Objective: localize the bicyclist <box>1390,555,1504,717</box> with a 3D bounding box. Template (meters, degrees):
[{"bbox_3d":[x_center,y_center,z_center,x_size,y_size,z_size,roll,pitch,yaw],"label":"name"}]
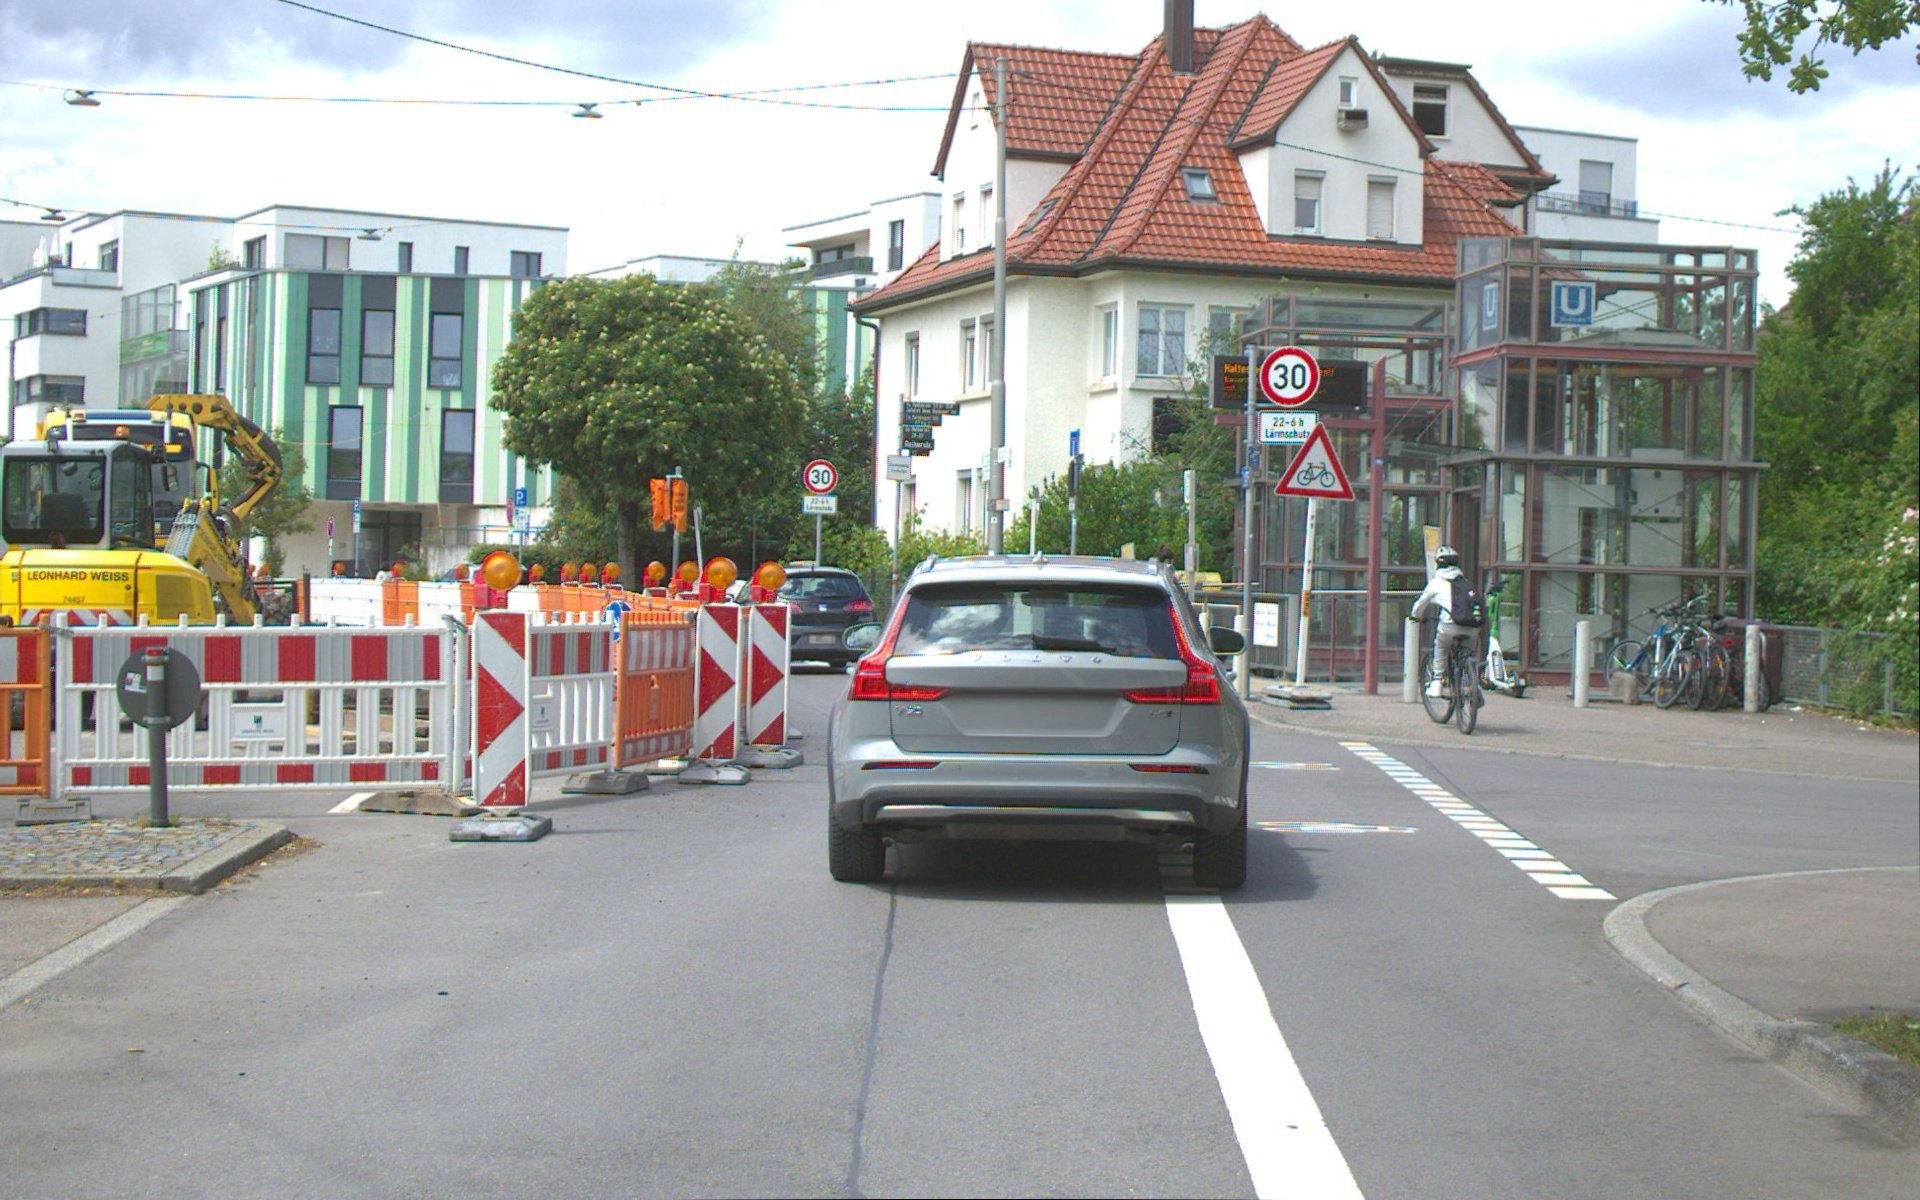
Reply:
[{"bbox_3d":[4.382,0.309,31.003,0.656,1.411,1.179,2,1,-9],"label":"bicyclist"}]

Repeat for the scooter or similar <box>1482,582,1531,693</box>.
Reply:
[{"bbox_3d":[5.793,0.389,36.463,0.215,1.108,0.947,0,4,-8],"label":"scooter or similar"}]

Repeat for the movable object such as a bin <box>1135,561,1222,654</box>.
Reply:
[{"bbox_3d":[3.556,0.116,56.042,1.268,1.465,1.004,2,0,-2],"label":"movable object such as a bin"}]

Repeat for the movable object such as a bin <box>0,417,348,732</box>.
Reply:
[{"bbox_3d":[-7.328,-0.246,32.003,1.993,2.617,6.522,1,1,1],"label":"movable object such as a bin"}]

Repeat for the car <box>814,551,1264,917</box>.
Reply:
[{"bbox_3d":[0.264,0.538,16.260,1.854,1.508,4.000,1,1,-2],"label":"car"}]

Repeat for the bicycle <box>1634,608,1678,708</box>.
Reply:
[{"bbox_3d":[7.180,0.594,35.462,0.215,0.997,1.207,1,0,1],"label":"bicycle"}]

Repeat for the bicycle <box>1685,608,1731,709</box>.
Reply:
[{"bbox_3d":[7.711,0.594,35.461,0.215,1.005,1.189,1,0,1],"label":"bicycle"}]

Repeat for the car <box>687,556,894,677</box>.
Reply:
[{"bbox_3d":[-2.358,0.203,46.910,1.854,1.508,4.001,2,0,-17],"label":"car"}]

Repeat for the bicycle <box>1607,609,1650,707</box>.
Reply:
[{"bbox_3d":[6.899,0.590,35.473,0.215,0.985,1.204,1,0,1],"label":"bicycle"}]

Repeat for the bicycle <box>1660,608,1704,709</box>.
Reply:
[{"bbox_3d":[7.445,0.591,35.482,0.215,1.010,1.169,1,0,1],"label":"bicycle"}]

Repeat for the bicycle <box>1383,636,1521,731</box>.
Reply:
[{"bbox_3d":[4.435,0.744,31.126,0.635,0.751,2.063,2,1,-9],"label":"bicycle"}]

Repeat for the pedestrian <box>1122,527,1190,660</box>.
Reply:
[{"bbox_3d":[2.422,-0.076,42.488,0.598,1.577,0.401,7,-2,-9],"label":"pedestrian"}]

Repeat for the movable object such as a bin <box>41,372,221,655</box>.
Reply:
[{"bbox_3d":[-13.686,-1.341,56.870,2.590,4.207,11.124,0,1,-13],"label":"movable object such as a bin"}]

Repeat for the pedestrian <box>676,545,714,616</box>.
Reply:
[{"bbox_3d":[-5.738,-0.426,74.534,0.521,1.534,0.635,1,1,38],"label":"pedestrian"}]

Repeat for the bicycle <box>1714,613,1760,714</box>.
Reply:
[{"bbox_3d":[8.008,0.646,35.449,0.215,1.005,1.189,1,0,1],"label":"bicycle"}]
